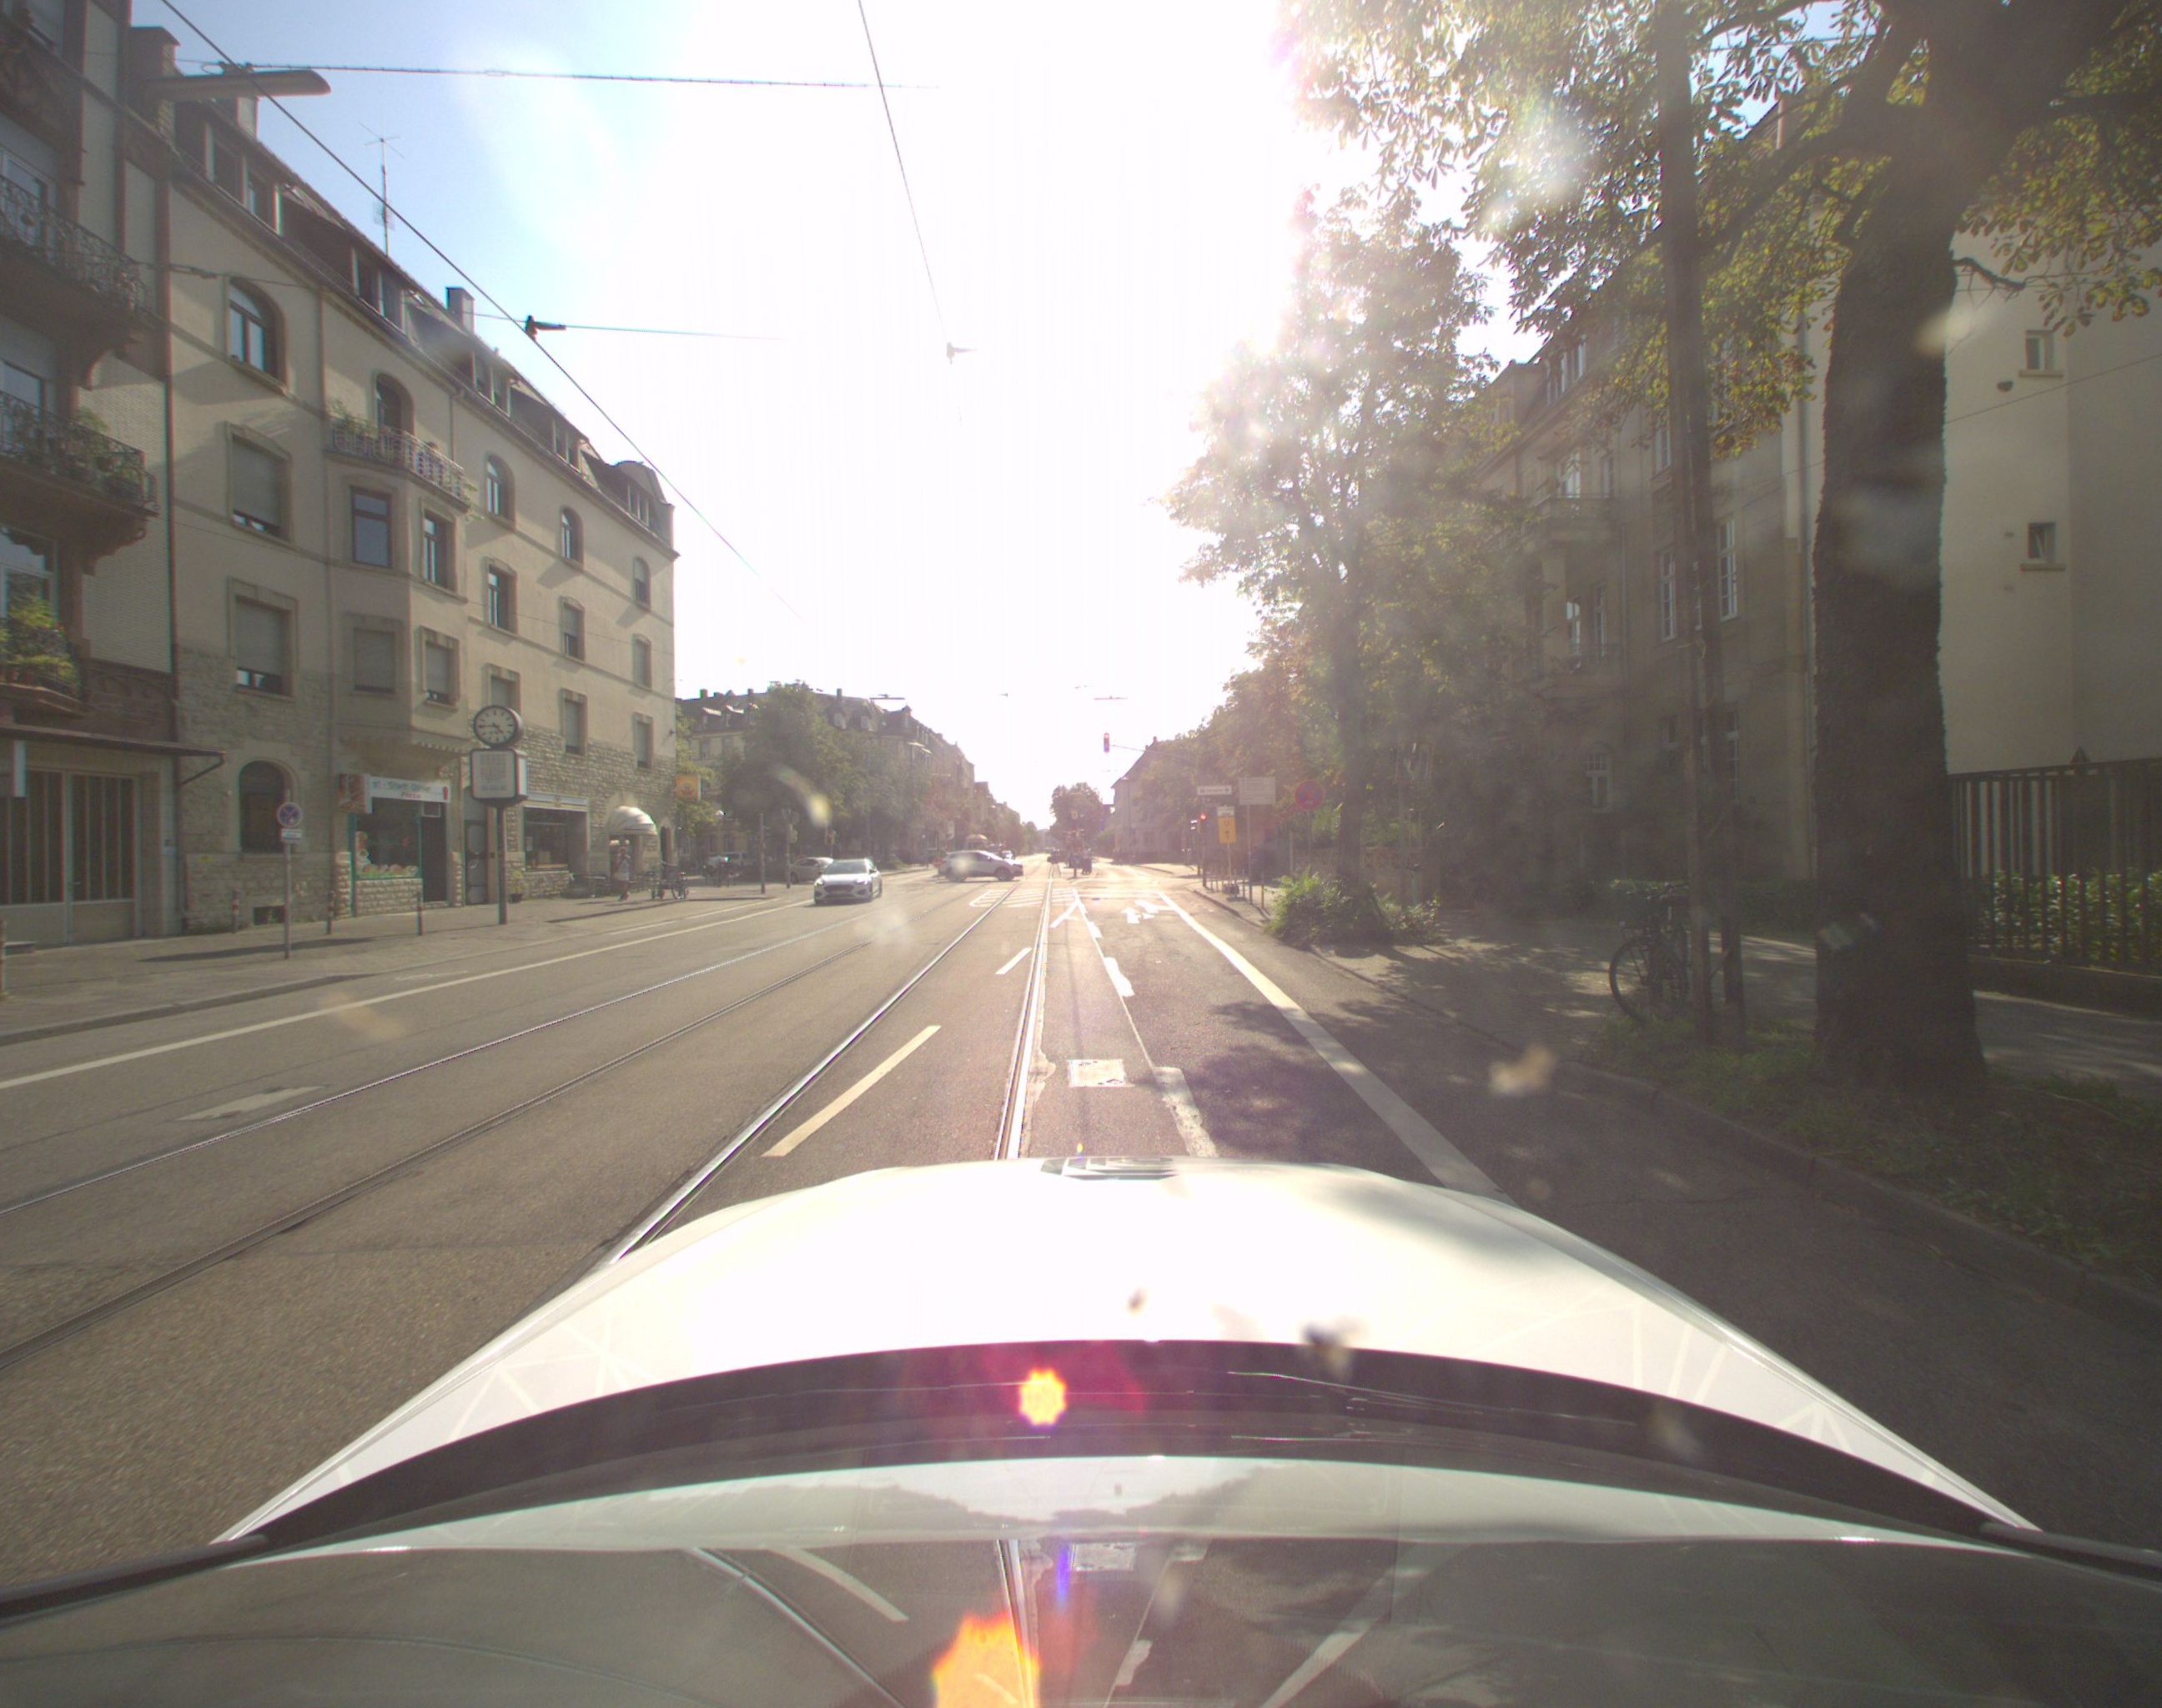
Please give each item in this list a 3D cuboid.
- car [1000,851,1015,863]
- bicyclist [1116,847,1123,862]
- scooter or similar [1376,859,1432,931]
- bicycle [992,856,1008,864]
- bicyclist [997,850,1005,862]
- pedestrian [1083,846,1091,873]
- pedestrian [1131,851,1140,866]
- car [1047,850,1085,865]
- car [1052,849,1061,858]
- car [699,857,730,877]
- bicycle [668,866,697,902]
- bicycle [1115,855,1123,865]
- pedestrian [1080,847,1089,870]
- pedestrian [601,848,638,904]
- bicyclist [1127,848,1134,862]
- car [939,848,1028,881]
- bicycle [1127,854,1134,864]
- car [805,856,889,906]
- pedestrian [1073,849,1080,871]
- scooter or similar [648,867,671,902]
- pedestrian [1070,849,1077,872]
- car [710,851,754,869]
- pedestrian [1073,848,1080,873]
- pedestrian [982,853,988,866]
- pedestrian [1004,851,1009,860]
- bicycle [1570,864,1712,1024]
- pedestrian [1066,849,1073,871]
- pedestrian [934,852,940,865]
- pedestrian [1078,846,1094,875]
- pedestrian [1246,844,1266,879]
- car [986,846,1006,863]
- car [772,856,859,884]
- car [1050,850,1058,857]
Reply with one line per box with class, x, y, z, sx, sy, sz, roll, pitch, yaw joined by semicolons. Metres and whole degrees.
car;-10.392;0.449;115.266;1.796;1.653;3.641;-1;0;0
bicyclist;3.904;0.090;82.823;0.627;1.507;0.678;-1;0;-3
scooter or similar;5.738;0.714;14.504;0.555;1.197;1.035;-4;0;4
bicycle;-9.444;0.699;94.831;1.846;0.958;0.548;-1;0;-3
bicyclist;-9.319;0.198;94.832;0.817;1.328;0.548;-1;0;-2
pedestrian;0.396;0.355;55.749;0.503;1.833;0.534;1;2;-1
pedestrian;6.776;0.554;101.117;0.884;1.740;0.780;-1;0;19
car;-1.760;0.391;94.962;4.311;1.675;1.998;-1;0;-2
car;-4.964;-0.069;163.894;1.796;1.653;3.641;-1;0;0
car;-29.246;0.997;65.077;1.870;1.466;4.755;-1;0;-19
bicycle;-14.346;1.059;29.355;0.453;1.226;1.850;-1;0;-11
bicycle;3.909;0.577;82.824;0.627;0.978;1.768;-1;0;-3
pedestrian;0.282;0.365;64.645;0.707;1.759;0.534;1;2;-2
pedestrian;-15.731;0.729;27.788;0.772;1.859;0.829;-1;0;-4
bicyclist;4.980;0.135;82.499;0.557;1.416;0.871;-1;0;-3
car;-5.145;0.561;43.276;4.295;1.630;2.004;-1;0;6
bicycle;4.996;0.550;82.485;0.556;0.978;1.854;-1;0;-3
car;-7.983;0.867;28.232;1.869;1.454;4.537;-4;0;-5
pedestrian;-0.381;0.488;65.246;0.541;1.759;0.534;1;2;-2
scooter or similar;-14.907;1.065;28.799;1.021;1.197;0.369;-1;0;42
pedestrian;-0.575;0.494;64.432;0.541;1.759;0.534;1;2;-2
car;-37.367;0.594;87.247;3.953;1.828;2.010;-1;0;20
pedestrian;-0.353;0.484;60.430;0.503;1.759;0.534;1;2;-1
pedestrian;-13.096;0.732;110.924;0.747;1.731;0.772;-1;0;1
pedestrian;-14.304;0.309;156.668;0.750;1.731;0.769;-1;0;-10
bicycle;5.040;0.750;7.280;1.853;1.166;0.498;-4;-4;-42
pedestrian;-0.969;0.489;66.647;0.530;1.759;0.545;1;2;0
pedestrian;-18.399;0.570;103.782;0.528;1.690;0.547;2;2;19
pedestrian;0.319;0.405;51.481;0.693;1.725;0.753;3;3;31
pedestrian;8.812;0.355;41.059;0.750;1.731;0.769;-1;0;-10
car;-13.245;0.078;127.123;2.338;2.662;5.108;-1;0;2
car;-15.082;0.902;46.212;4.726;1.466;1.881;-1;0;28
car;-6.760;-0.231;201.565;1.796;1.653;3.641;-1;0;0
